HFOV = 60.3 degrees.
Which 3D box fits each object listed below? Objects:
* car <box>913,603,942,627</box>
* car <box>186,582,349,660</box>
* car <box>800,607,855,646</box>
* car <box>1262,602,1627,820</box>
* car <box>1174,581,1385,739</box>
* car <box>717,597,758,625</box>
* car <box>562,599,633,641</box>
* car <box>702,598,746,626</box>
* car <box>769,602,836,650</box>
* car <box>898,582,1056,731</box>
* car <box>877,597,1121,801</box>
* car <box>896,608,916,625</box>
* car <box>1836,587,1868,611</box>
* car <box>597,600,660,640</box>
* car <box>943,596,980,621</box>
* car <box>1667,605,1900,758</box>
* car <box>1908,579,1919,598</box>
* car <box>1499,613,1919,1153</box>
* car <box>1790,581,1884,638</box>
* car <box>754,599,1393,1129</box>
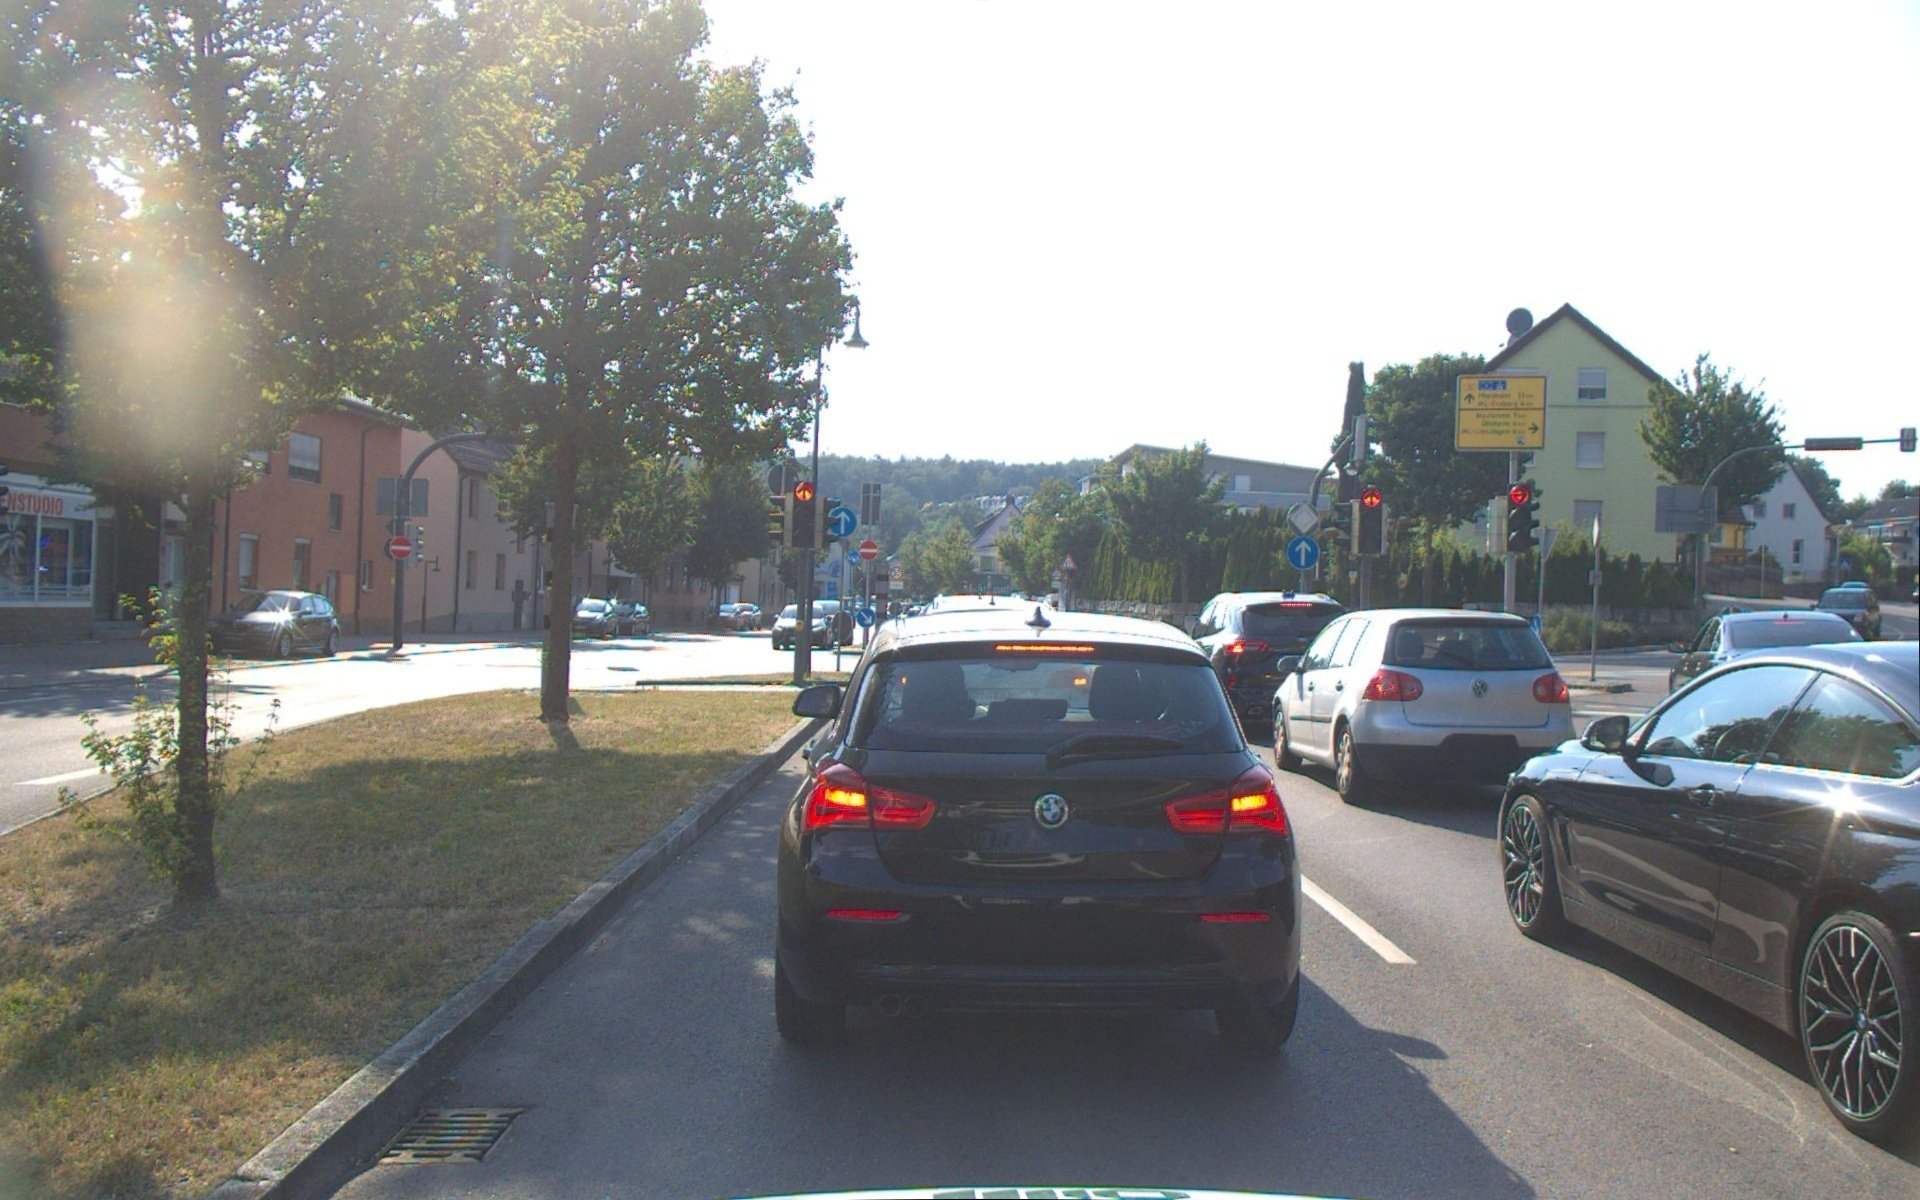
[{"bbox_3d":[-2.503,1.125,125.971,1.854,1.732,4.518,0,0,-6],"label":"car"},{"bbox_3d":[-15.516,0.445,37.277,1.805,1.579,4.001,3,0,2],"label":"car"},{"bbox_3d":[-4.943,0.973,62.149,1.658,1.377,4.000,1,0,1],"label":"car"},{"bbox_3d":[3.764,0.776,13.659,1.779,1.471,4.347,1,0,1],"label":"car"},{"bbox_3d":[3.761,0.654,20.198,1.779,1.695,4.347,1,0,1],"label":"car"},{"bbox_3d":[-13.769,0.673,102.581,1.884,1.624,4.000,1,0,1],"label":"car"},{"bbox_3d":[-14.582,0.783,66.712,1.884,1.624,4.000,1,0,1],"label":"car"},{"bbox_3d":[-13.815,0.682,97.075,1.884,1.624,4.000,1,0,1],"label":"car"},{"bbox_3d":[-5.183,0.836,54.721,1.730,1.484,4.000,1,0,1],"label":"car"},{"bbox_3d":[0.224,0.641,21.014,1.779,1.670,4.242,1,0,1],"label":"car"},{"bbox_3d":[0.314,0.725,14.287,1.779,1.476,4.242,1,0,1],"label":"car"},{"bbox_3d":[-5.252,1.595,160.924,1.885,1.624,3.999,1,0,-1],"label":"car"},{"bbox_3d":[58.070,-0.092,107.663,1.679,1.265,3.994,1,4,30],"label":"car"},{"bbox_3d":[-14.495,0.853,72.560,1.884,1.624,4.000,1,0,1],"label":"car"},{"bbox_3d":[0.054,0.545,105.211,1.826,1.511,4.652,1,0,-6],"label":"car"},{"bbox_3d":[9.053,0.800,18.530,1.646,1.460,4.591,1,0,18],"label":"car"},{"bbox_3d":[84.563,-0.958,145.530,1.745,1.607,3.987,1,0,34],"label":"car"},{"bbox_3d":[3.490,0.787,5.863,1.779,1.413,4.347,1,0,1],"label":"car"},{"bbox_3d":[28.009,0.271,52.779,1.759,1.533,4.048,0,3,41],"label":"car"},{"bbox_3d":[0.344,0.731,6.765,1.754,1.439,4.347,1,0,1],"label":"car"}]
